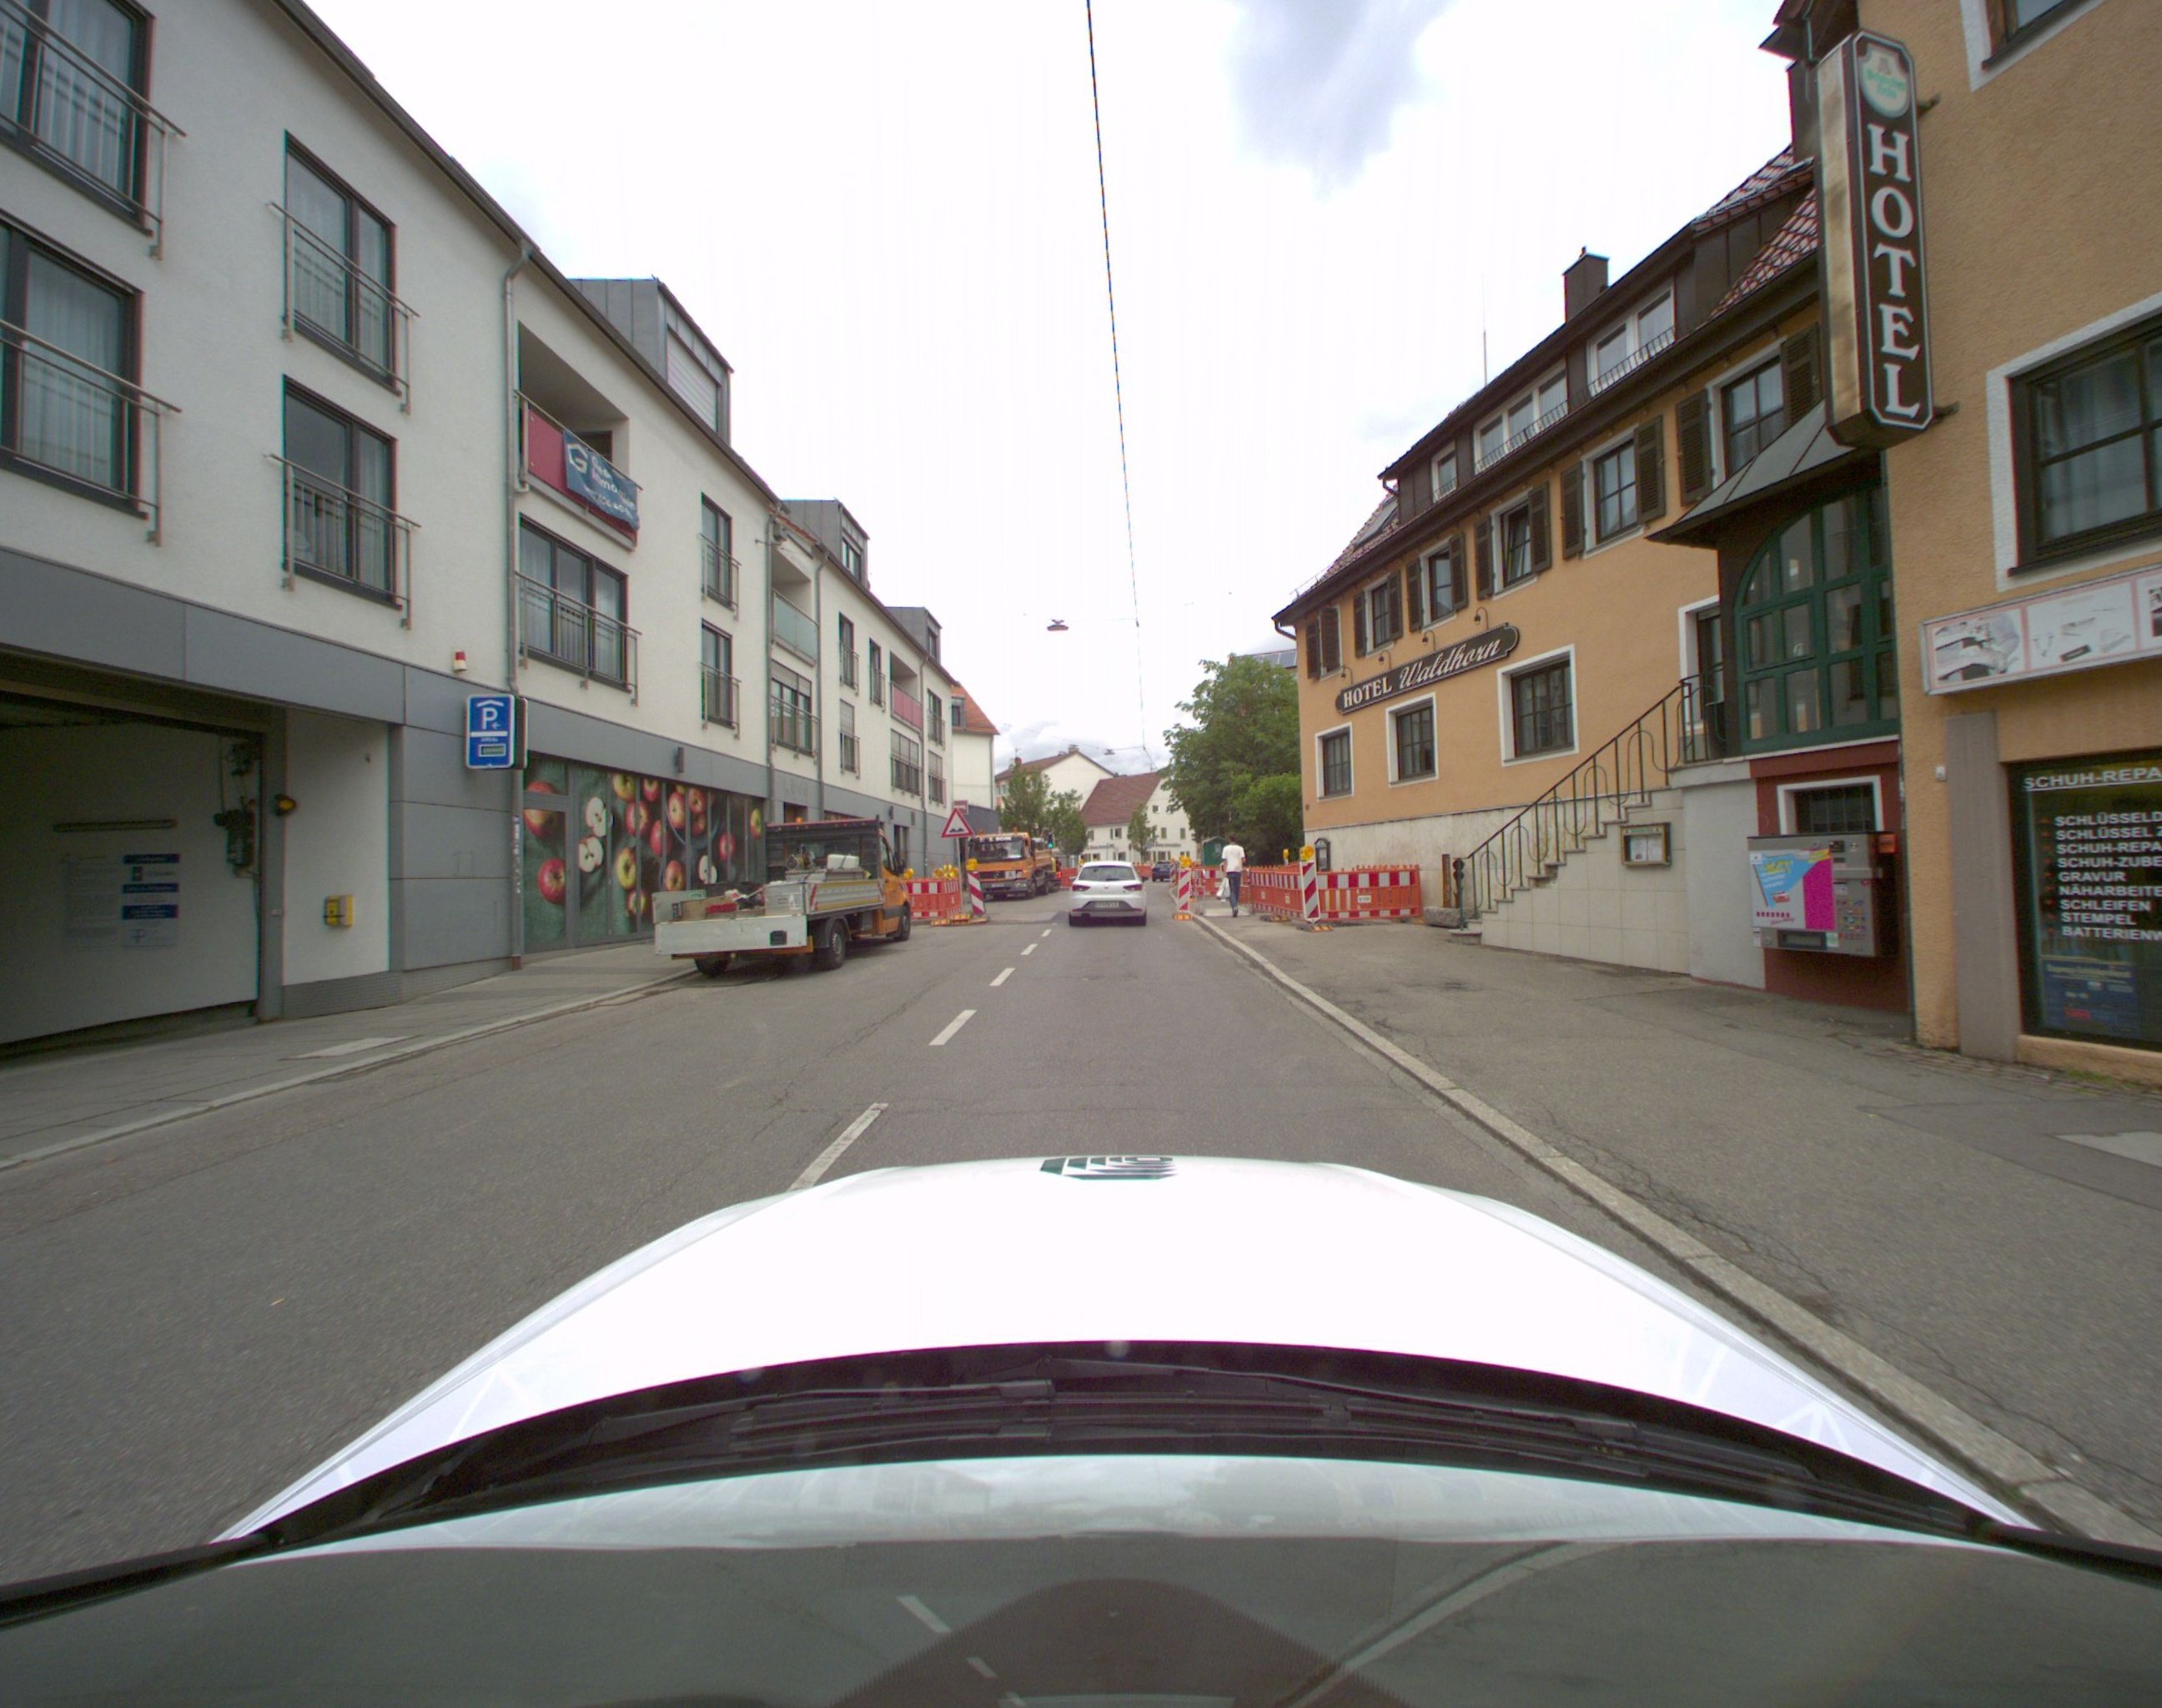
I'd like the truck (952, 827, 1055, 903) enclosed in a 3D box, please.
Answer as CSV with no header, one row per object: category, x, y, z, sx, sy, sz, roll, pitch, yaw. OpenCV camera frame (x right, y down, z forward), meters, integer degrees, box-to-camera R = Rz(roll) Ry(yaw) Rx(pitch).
truck,-2.975,0.403,33.363,2.717,2.725,6.861,-2,0,7

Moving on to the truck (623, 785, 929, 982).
truck,-4.563,0.379,13.739,2.403,2.466,6.313,-2,0,3

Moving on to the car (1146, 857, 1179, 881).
car,5.531,0.982,54.823,1.799,1.481,3.883,-2,0,12

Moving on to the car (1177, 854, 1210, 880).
car,9.195,1.034,66.307,1.978,2.014,4.018,-2,-1,18

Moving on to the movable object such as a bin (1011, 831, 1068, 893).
movable object such as a bin,-1.929,0.414,39.270,1.828,2.764,4.515,-2,-2,8

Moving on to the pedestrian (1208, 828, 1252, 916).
pedestrian,3.445,0.410,18.837,0.795,1.950,0.836,-2,0,1

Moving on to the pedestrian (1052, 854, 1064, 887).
pedestrian,-1.208,0.869,42.963,0.534,1.744,0.445,-2,-1,10

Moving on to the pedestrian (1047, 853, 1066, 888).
pedestrian,-1.300,0.881,42.997,0.809,1.816,0.745,-2,-1,9

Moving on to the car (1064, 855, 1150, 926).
car,0.666,0.783,19.266,1.804,1.481,3.874,-1,0,3
